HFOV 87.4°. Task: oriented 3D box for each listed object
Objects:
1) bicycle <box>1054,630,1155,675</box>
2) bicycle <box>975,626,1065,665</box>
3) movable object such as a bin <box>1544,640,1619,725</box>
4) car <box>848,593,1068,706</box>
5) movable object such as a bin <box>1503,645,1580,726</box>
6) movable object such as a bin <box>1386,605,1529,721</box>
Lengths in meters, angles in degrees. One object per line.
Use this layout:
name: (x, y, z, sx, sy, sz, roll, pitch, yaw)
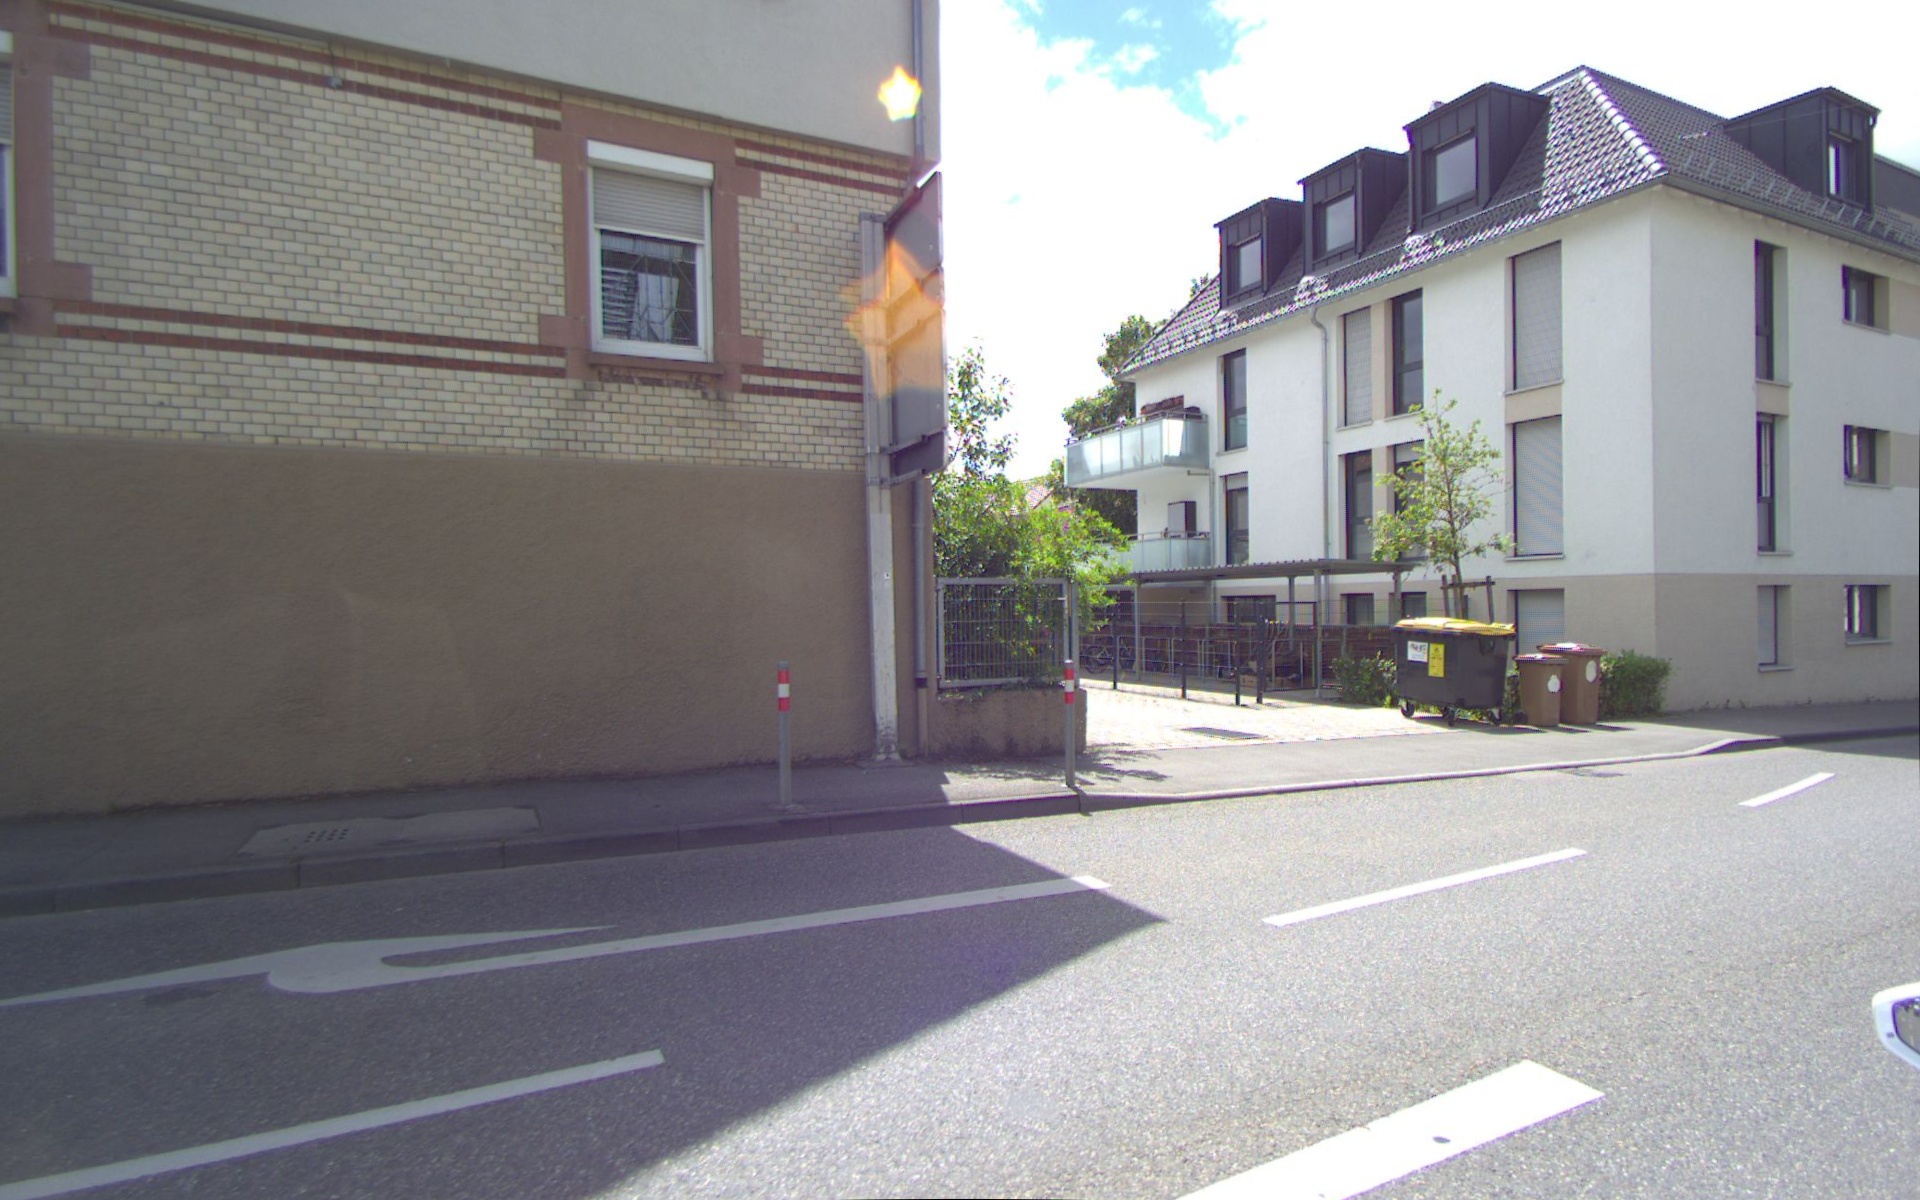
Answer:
bicycle: (3.398, 1.216, 23.505, 2.591, 0.900, 0.539, -2, 2, -31)
bicycle: (1.654, 1.211, 27.232, 2.591, 0.900, 0.539, -2, 2, -31)
movable object such as a bin: (8.376, 1.098, 13.547, 0.653, 1.089, 0.637, 1, -1, -30)
car: (-0.174, 0.719, 16.430, 1.976, 1.595, 3.971, 1, -1, -28)
movable object such as a bin: (7.686, 1.115, 13.278, 0.649, 1.014, 0.638, 1, -1, -28)
movable object such as a bin: (6.711, 0.817, 13.593, 1.157, 1.465, 1.328, 1, -1, -31)
